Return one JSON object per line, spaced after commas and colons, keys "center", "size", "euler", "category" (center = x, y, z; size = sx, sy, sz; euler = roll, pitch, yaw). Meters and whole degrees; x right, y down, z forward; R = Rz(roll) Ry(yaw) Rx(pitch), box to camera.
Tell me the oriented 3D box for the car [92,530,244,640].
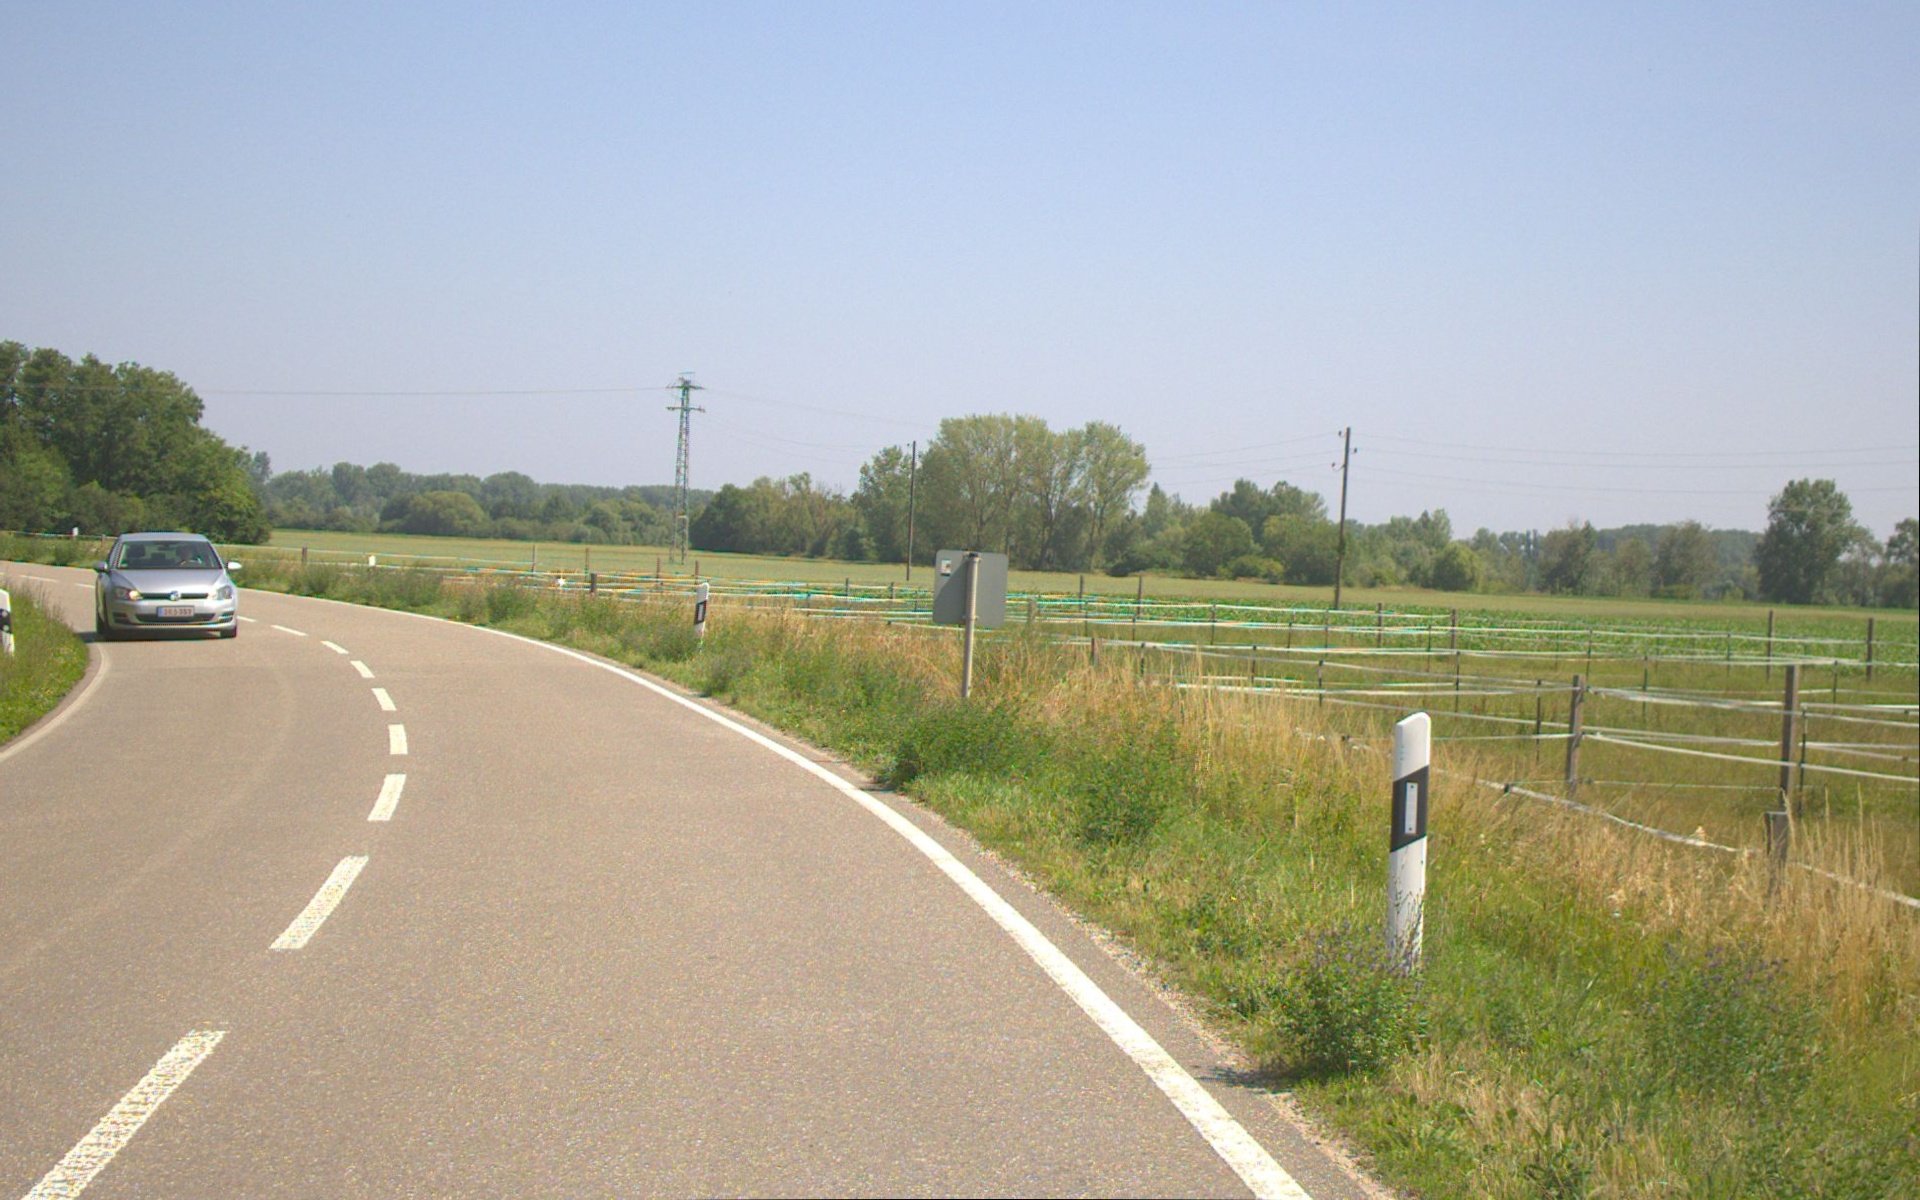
{"center": [-11.060, -0.237, 47.837], "size": [1.783, 1.422, 4.061], "euler": [-1, 1, -17], "category": "car"}
